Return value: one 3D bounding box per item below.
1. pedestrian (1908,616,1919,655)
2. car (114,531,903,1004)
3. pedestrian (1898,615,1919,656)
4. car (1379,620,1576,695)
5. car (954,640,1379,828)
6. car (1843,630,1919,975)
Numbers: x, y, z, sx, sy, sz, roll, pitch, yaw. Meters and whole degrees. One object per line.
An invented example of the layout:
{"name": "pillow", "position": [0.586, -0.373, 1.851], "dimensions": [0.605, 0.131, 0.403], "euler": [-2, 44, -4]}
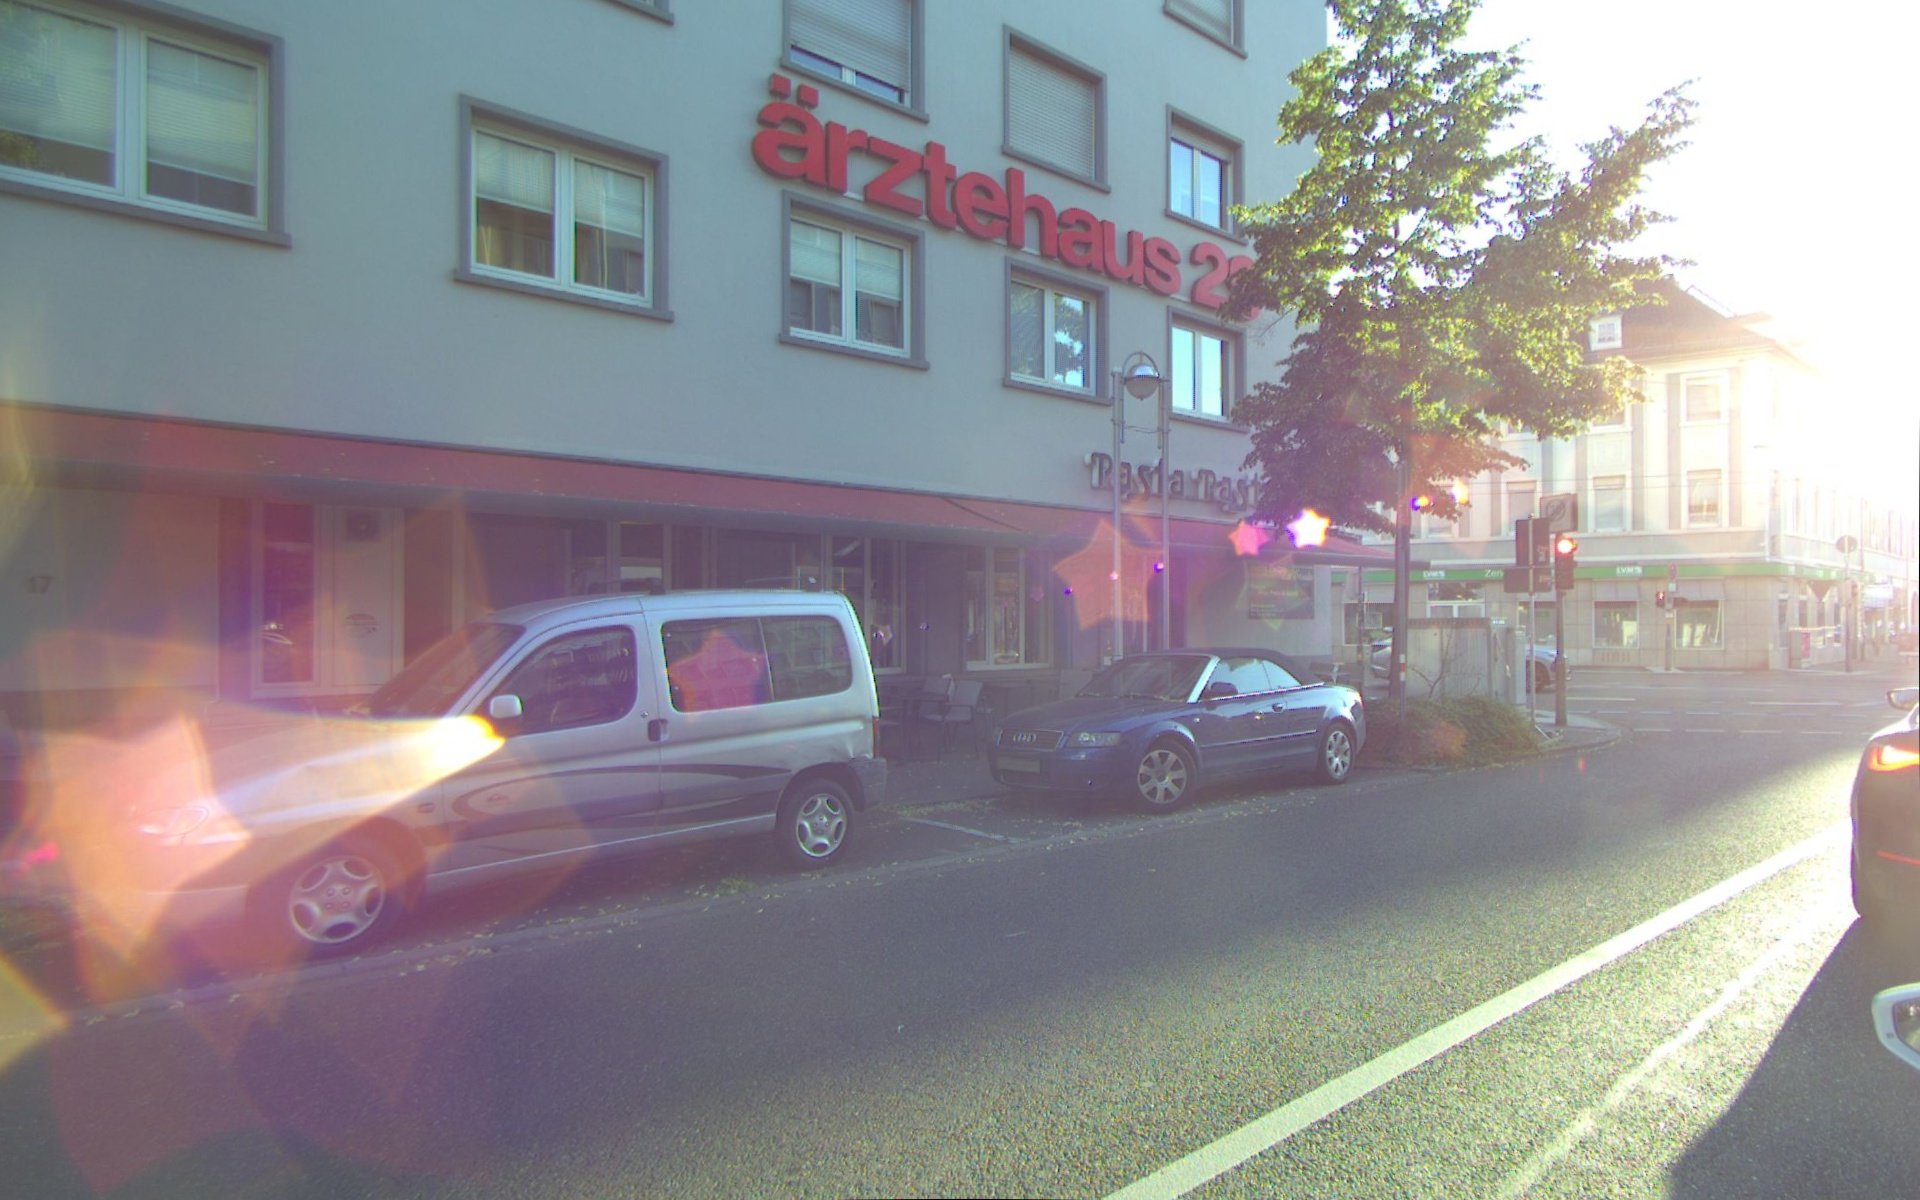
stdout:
{"name": "pedestrian", "position": [46.769, 1.726, 49.036], "dimensions": [0.673, 1.901, 0.610], "euler": [1, 0, -42]}
{"name": "car", "position": [-2.436, 0.762, 6.042], "dimensions": [4.022, 1.912, 1.655], "euler": [2, -4, -41]}
{"name": "pedestrian", "position": [45.633, 1.700, 48.296], "dimensions": [0.626, 1.901, 0.638], "euler": [1, 0, -38]}
{"name": "car", "position": [12.745, 1.365, 24.959], "dimensions": [4.213, 1.730, 1.803], "euler": [0, -1, 27]}
{"name": "car", "position": [2.124, 1.123, 9.695], "dimensions": [4.244, 1.434, 1.710], "euler": [2, -4, -39]}
{"name": "car", "position": [6.064, 0.900, 5.105], "dimensions": [4.188, 1.447, 1.723], "euler": [1, -1, -39]}
